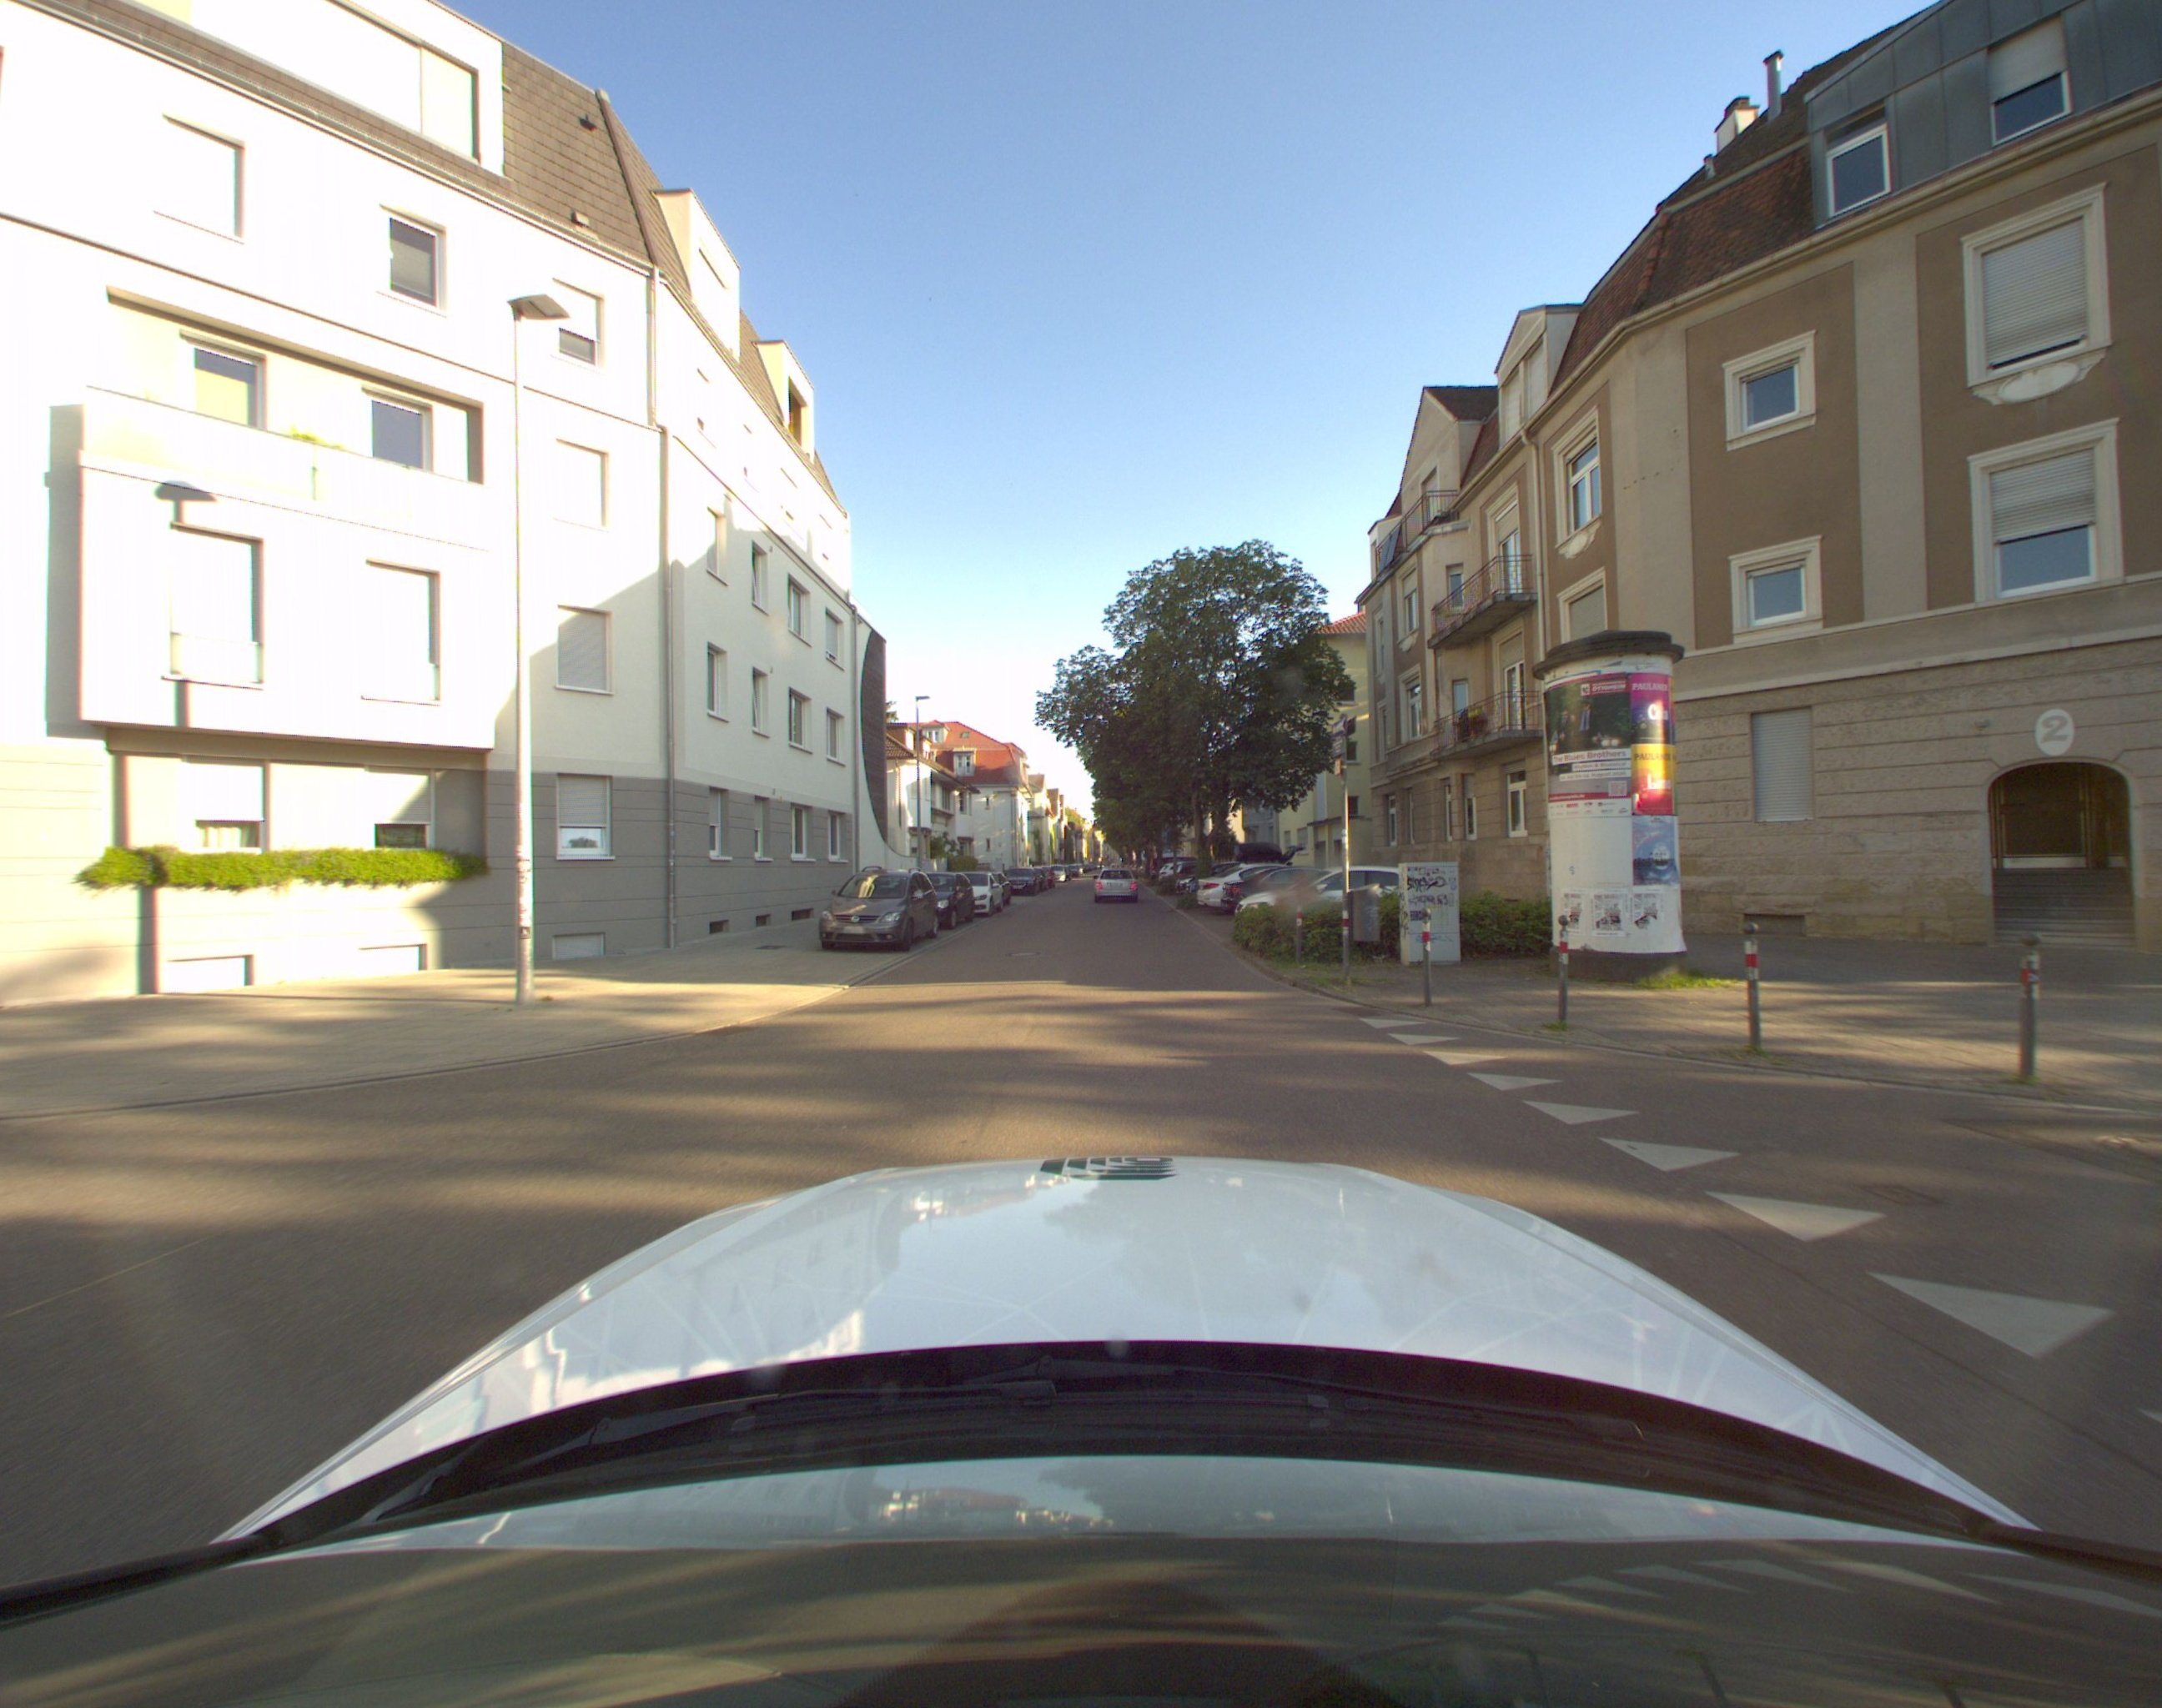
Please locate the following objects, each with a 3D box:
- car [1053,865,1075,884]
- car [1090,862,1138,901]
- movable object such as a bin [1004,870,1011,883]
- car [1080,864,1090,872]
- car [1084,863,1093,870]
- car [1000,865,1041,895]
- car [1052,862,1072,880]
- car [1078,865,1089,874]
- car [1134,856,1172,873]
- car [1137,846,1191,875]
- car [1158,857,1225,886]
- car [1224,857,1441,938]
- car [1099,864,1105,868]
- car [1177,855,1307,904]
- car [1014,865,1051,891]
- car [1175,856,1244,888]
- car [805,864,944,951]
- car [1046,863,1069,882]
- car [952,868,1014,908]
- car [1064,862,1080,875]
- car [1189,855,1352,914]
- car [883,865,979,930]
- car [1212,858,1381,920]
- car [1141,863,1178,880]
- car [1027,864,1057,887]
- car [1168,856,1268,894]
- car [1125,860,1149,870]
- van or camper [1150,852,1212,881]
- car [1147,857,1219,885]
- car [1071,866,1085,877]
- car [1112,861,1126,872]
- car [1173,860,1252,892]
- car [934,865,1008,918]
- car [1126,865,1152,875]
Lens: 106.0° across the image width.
[{"bbox_3d":[-1.589,1.938,76.356,1.792,1.645,3.858,-1,-2,2],"label":"car"},{"bbox_3d":[1.451,1.142,34.112,1.808,1.473,4.221,-1,-2,5],"label":"car"},{"bbox_3d":[-6.247,1.957,69.524,0.525,1.107,0.590,-1,-2,2],"label":"movable object such as a bin"},{"bbox_3d":[0.728,2.638,149.159,1.792,1.387,3.608,-1,0,2],"label":"car"},{"bbox_3d":[1.632,2.725,178.909,1.792,1.387,3.608,-1,0,2],"label":"car"},{"bbox_3d":[-3.201,1.375,43.834,1.848,1.498,4.653,-1,-1,-1],"label":"car"},{"bbox_3d":[-1.835,1.651,79.912,1.792,1.644,3.859,-1,0,2],"label":"car"},{"bbox_3d":[0.391,2.607,137.834,1.792,1.387,3.608,-1,0,2],"label":"car"},{"bbox_3d":[8.827,1.293,100.721,4.504,2.014,2.251,-1,-1,0],"label":"car"},{"bbox_3d":[8.901,0.683,87.593,5.525,2.968,2.471,-1,-1,-1],"label":"car"},{"bbox_3d":[6.484,1.049,48.106,3.717,1.558,1.725,-2,-1,1],"label":"car"},{"bbox_3d":[5.215,0.891,17.325,4.034,1.505,1.862,-2,-1,1],"label":"car"},{"bbox_3d":[6.117,3.507,238.572,1.792,1.387,3.608,-1,0,2],"label":"car"},{"bbox_3d":[5.944,0.941,30.476,4.510,1.641,1.874,-2,-1,1],"label":"car"},{"bbox_3d":[-2.911,1.439,50.081,1.776,1.498,4.702,-1,-1,3],"label":"car"},{"bbox_3d":[7.133,1.021,45.462,3.535,1.654,1.725,-2,-1,1],"label":"car"},{"bbox_3d":[-4.188,1.027,17.218,1.878,1.591,4.089,-1,-1,0],"label":"car"},{"bbox_3d":[-1.973,1.585,70.183,1.652,1.499,3.756,-1,-1,3],"label":"car"},{"bbox_3d":[-3.765,1.288,31.988,1.751,1.447,4.144,-1,-1,3],"label":"car"},{"bbox_3d":[-1.050,1.719,97.769,1.792,1.482,3.859,-1,0,2],"label":"car"},{"bbox_3d":[5.699,0.896,24.850,4.468,1.525,1.951,-2,0,-4],"label":"car"},{"bbox_3d":[-4.038,1.131,22.589,1.878,1.591,4.089,-1,-1,0],"label":"car"},{"bbox_3d":[5.770,0.920,22.134,4.128,1.448,1.673,-2,-1,1],"label":"car"},{"bbox_3d":[8.152,1.797,84.747,3.583,1.660,1.649,-1,-1,0],"label":"car"},{"bbox_3d":[-2.612,1.469,55.539,1.652,1.488,3.756,-1,-1,3],"label":"car"},{"bbox_3d":[6.104,0.930,36.697,4.176,1.558,1.874,-2,-1,1],"label":"car"},{"bbox_3d":[9.019,1.718,130.677,3.828,1.482,1.806,-1,-1,3],"label":"car"},{"bbox_3d":[7.058,0.906,57.952,4.293,2.014,2.003,-1,-1,5],"label":"van or camper"},{"bbox_3d":[6.837,1.154,54.860,4.608,1.837,1.954,-1,-1,1],"label":"car"},{"bbox_3d":[-0.448,2.407,114.203,1.792,1.482,3.859,-1,0,2],"label":"car"},{"bbox_3d":[5.393,1.790,114.997,1.808,1.473,4.221,-1,-2,5],"label":"car"},{"bbox_3d":[6.849,1.136,42.648,3.908,1.558,1.727,-2,0,3],"label":"car"},{"bbox_3d":[-3.581,1.194,27.104,1.878,1.591,4.089,-1,-1,0],"label":"car"},{"bbox_3d":[8.868,2.450,124.490,3.828,1.482,1.806,-1,-1,3],"label":"car"}]
